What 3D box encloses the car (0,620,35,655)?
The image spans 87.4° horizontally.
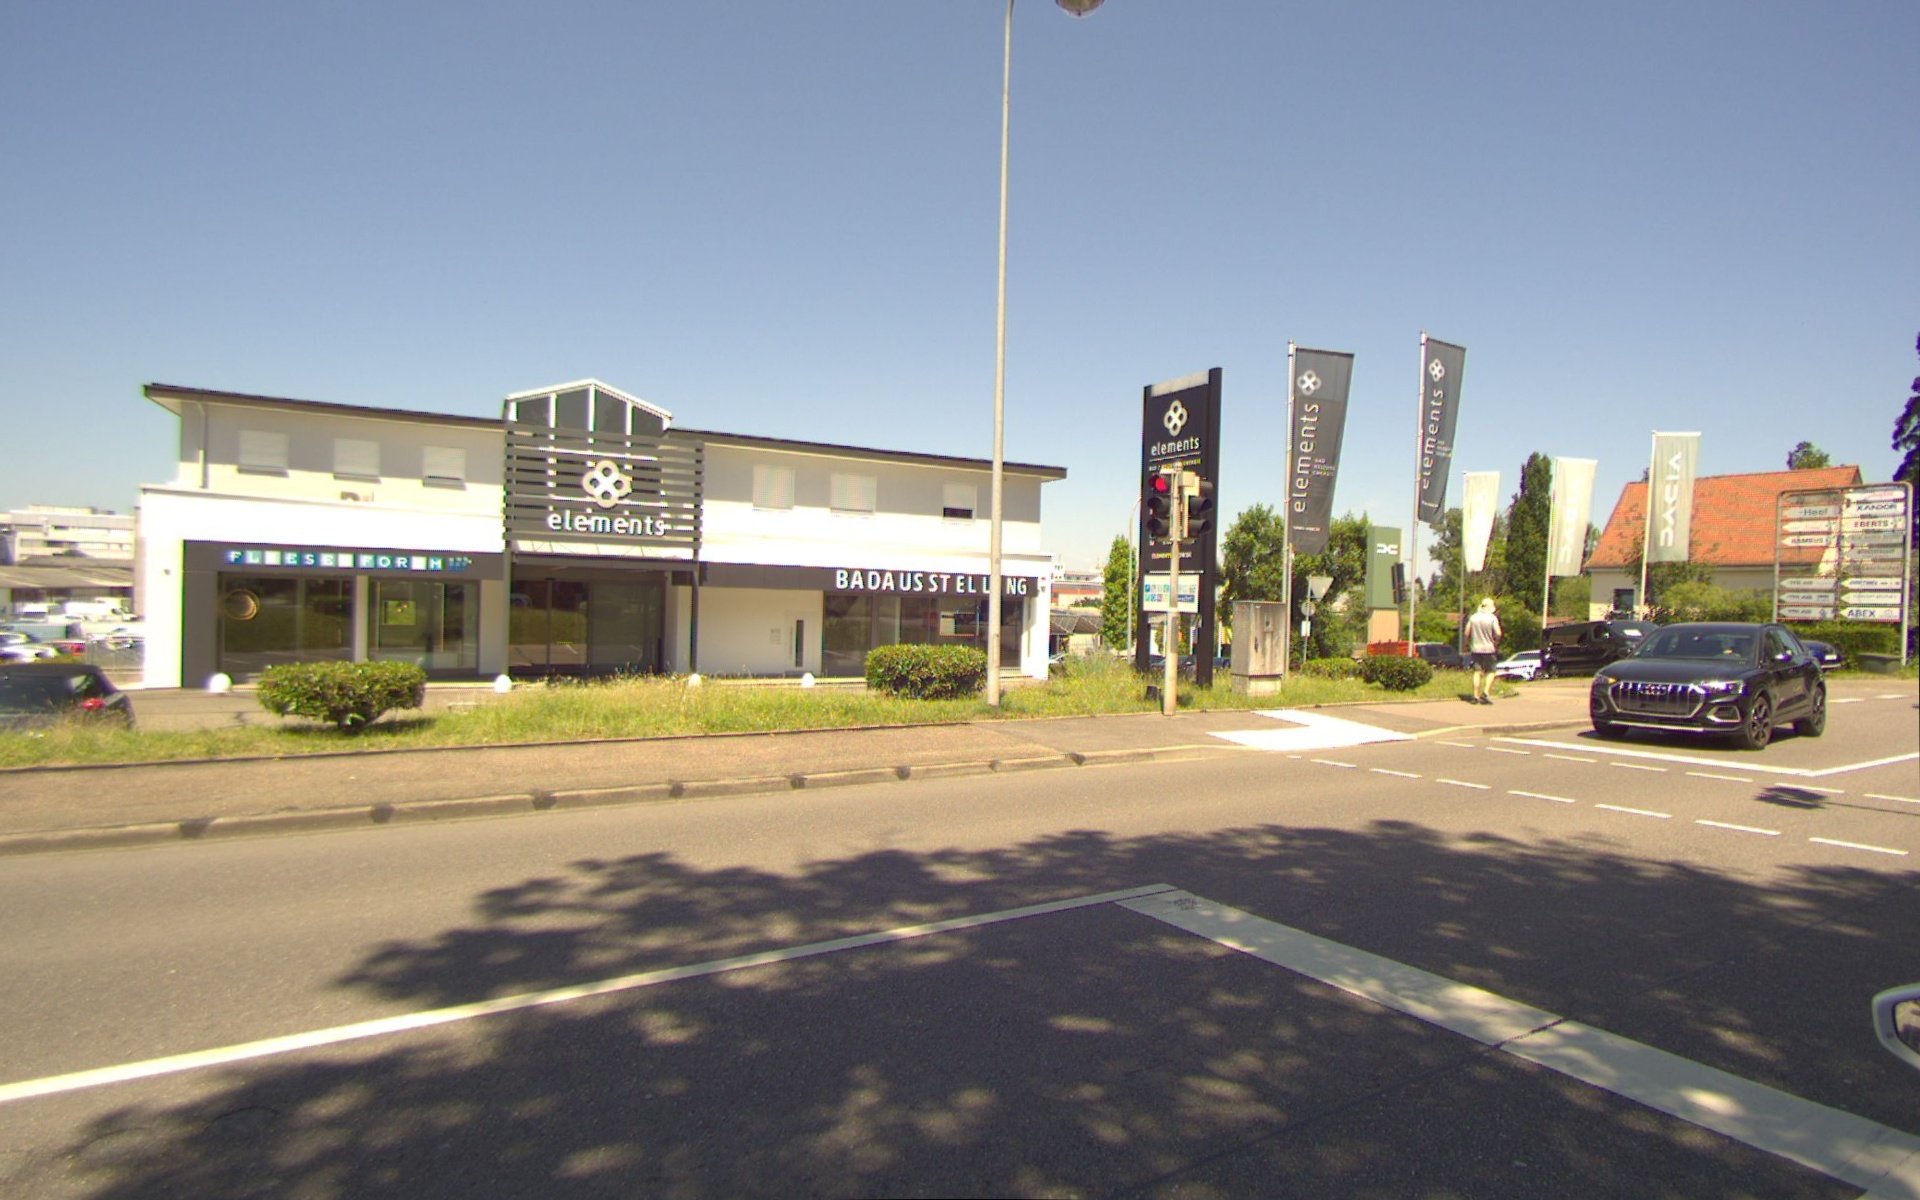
[{"bbox_3d":[-51.424,1.962,52.786,3.726,1.778,1.719,2,-1,-28],"label":"car"}]

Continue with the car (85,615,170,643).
[{"bbox_3d":[-55.212,1.931,66.697,4.004,1.778,1.719,2,-1,-28],"label":"car"}]

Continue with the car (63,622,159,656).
[{"bbox_3d":[-46.619,2.139,55.253,3.726,1.778,1.719,2,-1,-28],"label":"car"}]

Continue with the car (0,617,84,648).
[{"bbox_3d":[-54.774,1.913,59.726,3.726,1.778,1.719,2,-1,-28],"label":"car"}]

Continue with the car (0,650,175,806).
[{"bbox_3d":[-11.779,1.507,12.850,1.746,1.553,4.076,1,-1,-24],"label":"car"}]

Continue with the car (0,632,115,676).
[{"bbox_3d":[-39.213,2.308,43.438,3.726,1.778,1.719,2,-1,-28],"label":"car"}]

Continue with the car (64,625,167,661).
[{"bbox_3d":[-43.470,2.218,51.800,3.726,1.778,1.719,2,-1,-28],"label":"car"}]

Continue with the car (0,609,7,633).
[{"bbox_3d":[-74.810,1.581,75.832,3.726,1.778,1.719,2,0,-28],"label":"car"}]

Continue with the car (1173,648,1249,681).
[{"bbox_3d":[11.964,3.020,47.716,3.839,1.434,1.633,2,-1,-42],"label":"car"}]

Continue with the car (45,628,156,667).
[{"bbox_3d":[-41.160,2.273,48.212,3.726,1.778,1.719,2,-1,-28],"label":"car"}]

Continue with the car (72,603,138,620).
[{"bbox_3d":[-95.735,1.316,112.538,5.236,1.778,2.051,2,-1,-28],"label":"car"}]

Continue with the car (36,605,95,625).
[{"bbox_3d":[-83.971,1.399,94.363,3.726,1.778,1.719,2,0,-28],"label":"car"}]

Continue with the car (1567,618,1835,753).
[{"bbox_3d":[10.474,1.091,14.103,4.263,1.576,1.912,2,-1,-37],"label":"car"}]

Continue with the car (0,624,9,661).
[{"bbox_3d":[-49.206,2.078,48.962,3.726,1.778,1.719,2,-1,-28],"label":"car"}]

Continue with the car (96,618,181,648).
[{"bbox_3d":[-50.595,2.053,61.953,3.726,1.778,1.719,2,-1,-28],"label":"car"}]

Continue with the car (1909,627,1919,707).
[{"bbox_3d":[20.578,1.342,19.852,4.011,1.527,1.857,2,-1,-34],"label":"car"}]

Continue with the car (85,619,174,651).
[{"bbox_3d":[-49.237,2.080,59.625,3.726,1.778,1.719,2,-1,-28],"label":"car"}]

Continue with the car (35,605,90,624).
[{"bbox_3d":[-88.196,1.425,98.762,3.726,1.778,1.719,1,1,-28],"label":"car"}]

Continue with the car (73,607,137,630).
[{"bbox_3d":[-71.040,1.562,83.516,3.726,1.778,1.719,2,2,-28],"label":"car"}]

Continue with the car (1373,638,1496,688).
[{"bbox_3d":[18.040,2.388,38.207,4.022,1.744,1.808,2,0,-16],"label":"car"}]

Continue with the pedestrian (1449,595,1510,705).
[{"bbox_3d":[8.627,0.818,16.688,0.689,1.785,0.545,1,0,-4],"label":"pedestrian"}]

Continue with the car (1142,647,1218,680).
[{"bbox_3d":[10.966,3.131,49.939,3.973,1.506,1.735,2,-1,-44],"label":"car"}]

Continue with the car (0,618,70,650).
[{"bbox_3d":[-53.373,1.940,57.133,3.726,1.778,1.719,2,-1,-28],"label":"car"}]

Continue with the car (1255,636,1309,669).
[{"bbox_3d":[18.860,3.038,58.674,1.785,1.744,4.075,1,0,36],"label":"car"}]

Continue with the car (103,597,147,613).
[{"bbox_3d":[-99.529,0.631,119.733,3.726,1.778,1.719,2,-1,-28],"label":"car"}]

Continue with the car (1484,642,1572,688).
[{"bbox_3d":[23.902,2.681,42.218,4.053,1.744,1.795,2,0,-38],"label":"car"}]

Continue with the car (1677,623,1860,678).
[{"bbox_3d":[25.075,1.532,31.337,1.751,1.524,4.129,1,-1,-20],"label":"car"}]
